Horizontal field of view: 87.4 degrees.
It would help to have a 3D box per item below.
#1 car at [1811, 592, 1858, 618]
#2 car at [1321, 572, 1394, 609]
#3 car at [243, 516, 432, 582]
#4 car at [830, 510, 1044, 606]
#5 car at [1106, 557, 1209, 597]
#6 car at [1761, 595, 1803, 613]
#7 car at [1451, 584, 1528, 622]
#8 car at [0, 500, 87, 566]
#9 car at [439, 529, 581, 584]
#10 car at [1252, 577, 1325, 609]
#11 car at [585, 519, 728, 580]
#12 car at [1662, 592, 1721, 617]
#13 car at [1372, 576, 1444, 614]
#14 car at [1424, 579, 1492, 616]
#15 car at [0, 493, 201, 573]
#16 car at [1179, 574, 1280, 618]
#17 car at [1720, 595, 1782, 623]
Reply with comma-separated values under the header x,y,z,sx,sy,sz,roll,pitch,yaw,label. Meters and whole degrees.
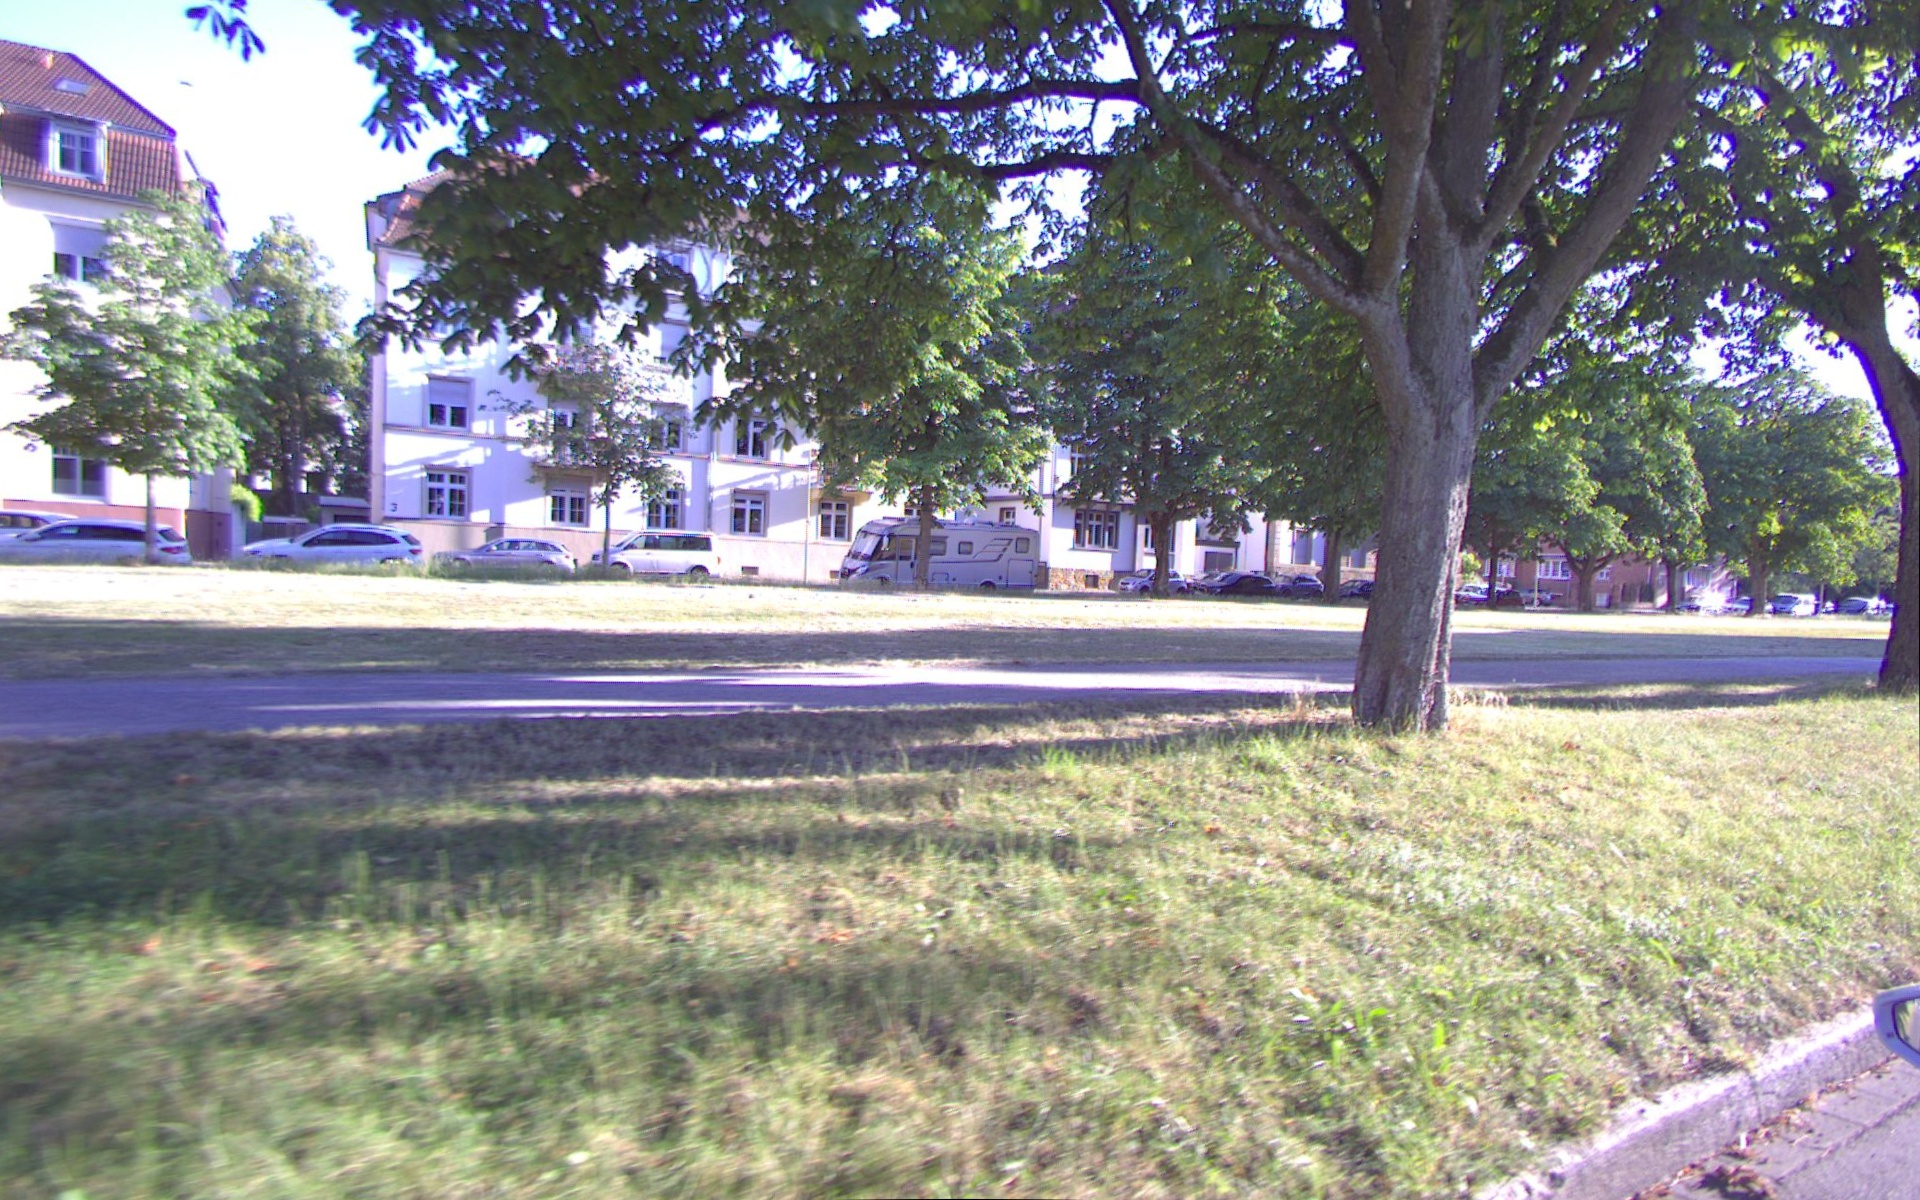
x,y,z,sx,sy,sz,roll,pitch,yaw,label
71.765,0.413,82.420,3.837,1.712,1.718,3,4,-32,car
23.301,-0.558,58.836,3.870,1.827,1.855,2,4,-31,car
-17.340,-1.412,28.182,4.370,1.575,1.785,1,6,-32,car
-0.793,-1.530,37.931,7.760,3.173,2.380,1,5,-30,car
10.106,-1.163,51.302,5.103,1.712,1.982,2,5,-33,car
71.695,0.365,87.616,3.431,1.360,1.674,2,4,-31,car
29.555,0.157,56.052,4.073,1.805,1.803,2,4,-30,car
-27.745,-1.995,28.616,3.951,1.681,1.985,2,5,-29,car
-15.927,-1.520,35.574,4.422,1.663,1.833,1,5,-30,car
18.281,-0.381,55.857,3.748,1.604,1.749,1,5,-31,car
-11.580,-1.910,38.415,4.823,1.976,1.982,2,4,-32,car
57.422,0.342,78.843,4.302,1.681,1.984,2,4,-29,car
27.503,-0.309,61.638,3.956,2.041,1.982,2,5,-32,car
31.803,-0.174,64.169,3.956,2.041,1.982,2,5,-32,car
-22.081,-1.683,25.242,4.515,1.681,1.984,2,4,-29,car
12.336,-0.157,45.896,4.264,1.696,1.870,2,4,-30,car
55.954,0.634,71.075,3.937,1.681,2.013,2,4,-30,car
